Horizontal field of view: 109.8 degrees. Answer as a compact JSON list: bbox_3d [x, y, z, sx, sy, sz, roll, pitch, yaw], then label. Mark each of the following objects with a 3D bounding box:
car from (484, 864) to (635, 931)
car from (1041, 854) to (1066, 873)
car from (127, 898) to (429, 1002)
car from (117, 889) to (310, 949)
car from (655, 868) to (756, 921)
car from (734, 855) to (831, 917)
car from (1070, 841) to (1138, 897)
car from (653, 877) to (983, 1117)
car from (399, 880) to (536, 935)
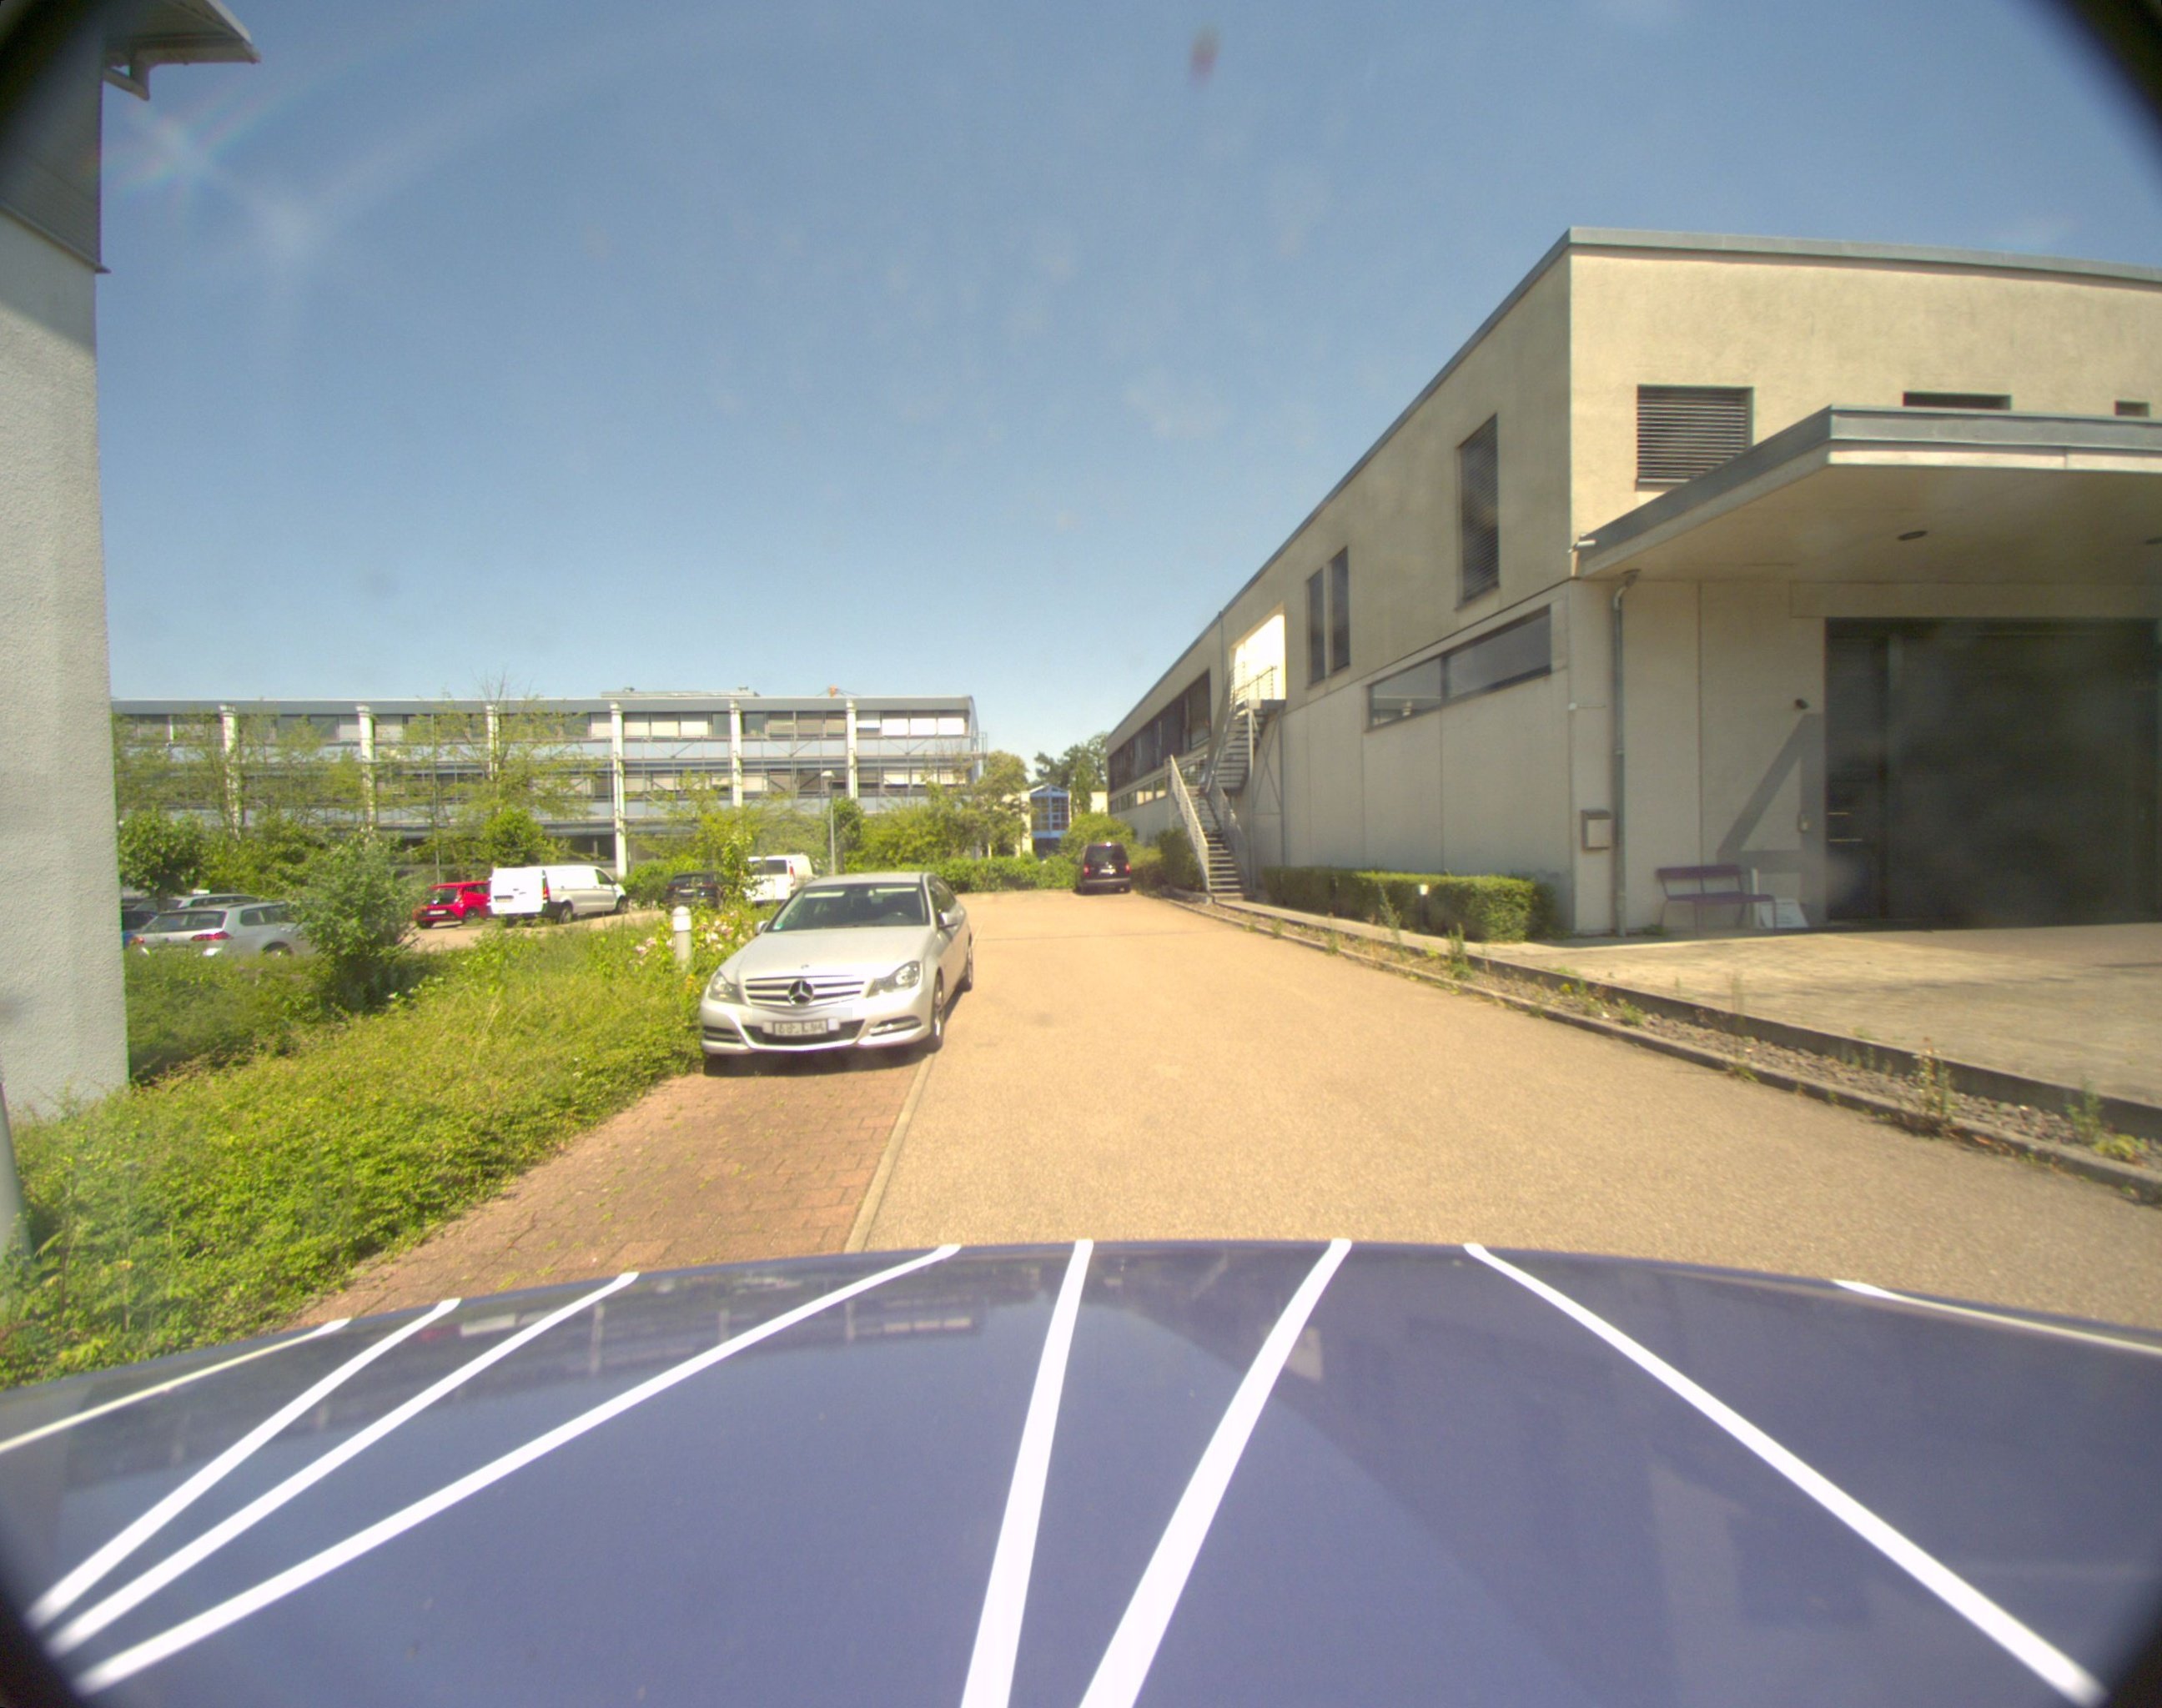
[{"bbox_3d":[-17.440,1.371,25.787,1.856,1.845,4.932,-3,1,-4],"label":"car"},{"bbox_3d":[-2.580,0.866,70.998,1.837,1.558,3.995,-2,2,-9],"label":"car"},{"bbox_3d":[-16.374,1.851,15.928,1.856,1.511,4.425,-3,0,-6],"label":"car"},{"bbox_3d":[-28.436,2.067,25.136,1.739,1.475,4.083,-3,1,-3],"label":"car"},{"bbox_3d":[-13.002,1.349,26.591,1.739,1.475,4.195,-3,1,-6],"label":"car"},{"bbox_3d":[-10.270,1.014,26.529,1.868,1.849,4.674,-3,1,-6],"label":"car"},{"bbox_3d":[0.776,0.489,28.389,1.868,1.849,4.226,-3,1,-6],"label":"car"},{"bbox_3d":[-2.084,1.052,7.446,1.804,1.390,4.418,-2,1,-2],"label":"car"},{"bbox_3d":[-20.830,1.757,26.029,1.624,1.479,3.919,-3,1,-4],"label":"car"}]
